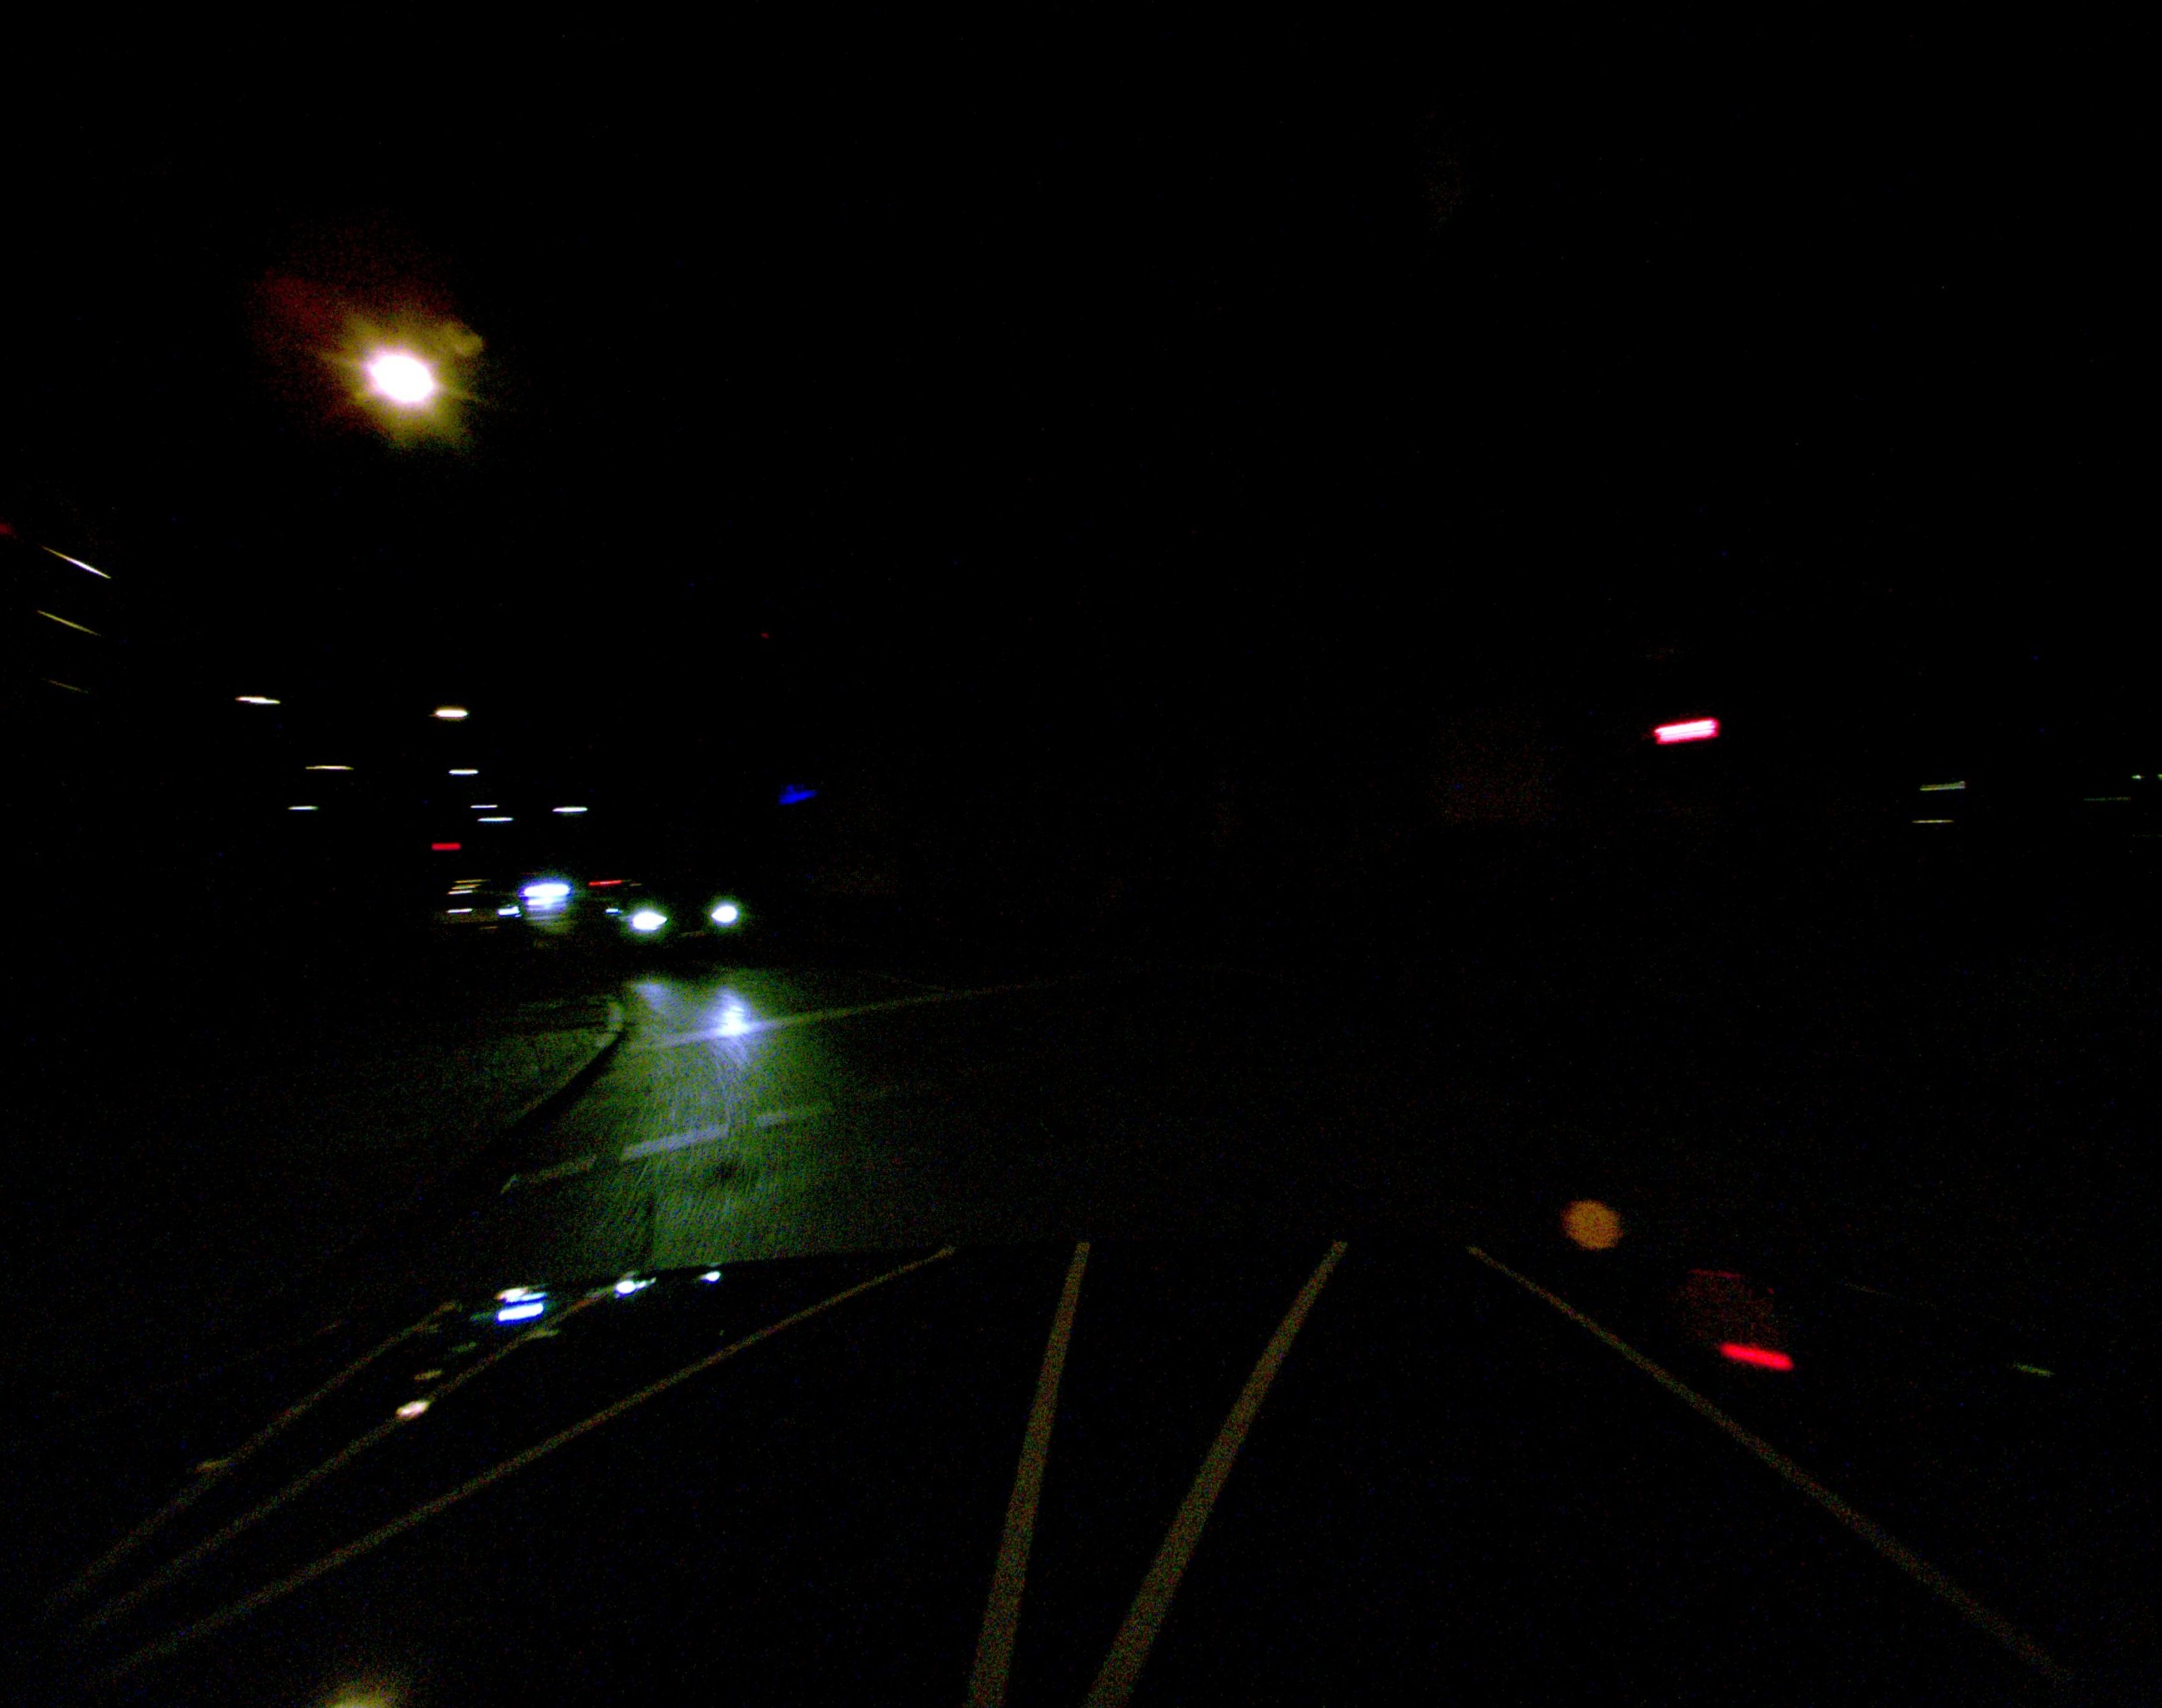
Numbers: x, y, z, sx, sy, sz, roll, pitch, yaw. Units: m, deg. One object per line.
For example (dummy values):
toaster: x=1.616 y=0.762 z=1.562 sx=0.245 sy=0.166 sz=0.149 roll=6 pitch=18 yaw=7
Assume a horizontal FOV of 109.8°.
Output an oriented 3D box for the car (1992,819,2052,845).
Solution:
car: x=64.844 y=-1.519 z=52.423 sx=1.994 sy=1.625 sz=4.008 roll=-2 pitch=1 yaw=42

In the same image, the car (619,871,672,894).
car: x=-40.285 y=2.641 z=70.417 sx=4.005 sy=1.878 sz=1.905 roll=-2 pitch=1 yaw=-25

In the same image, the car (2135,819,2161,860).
car: x=46.502 y=-0.655 z=32.125 sx=4.007 sy=1.625 sz=1.995 roll=-3 pitch=1 yaw=-40

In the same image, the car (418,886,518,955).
car: x=-16.628 y=1.696 z=20.559 sx=1.869 sy=1.480 sz=4.534 roll=-3 pitch=1 yaw=-41

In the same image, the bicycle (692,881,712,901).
bicycle: x=-20.871 y=2.023 z=41.828 sx=0.622 sy=1.045 sz=1.717 roll=-3 pitch=1 yaw=-38

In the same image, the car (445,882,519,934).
car: x=-20.894 y=1.801 z=26.424 sx=1.784 sy=1.535 sz=4.534 roll=-3 pitch=1 yaw=-41

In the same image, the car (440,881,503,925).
car: x=-25.071 y=1.967 z=31.198 sx=1.833 sy=1.613 sz=4.446 roll=-1 pitch=-1 yaw=-40

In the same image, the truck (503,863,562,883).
truck: x=-112.510 y=3.866 z=156.030 sx=9.368 sy=3.701 sz=1.996 roll=-2 pitch=1 yaw=-23

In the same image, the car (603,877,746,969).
car: x=-8.689 y=1.329 z=16.055 sx=2.004 sy=1.606 sz=3.990 roll=-2 pitch=-1 yaw=-37

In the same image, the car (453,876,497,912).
car: x=-33.735 y=2.175 z=42.332 sx=1.810 sy=1.863 sz=4.761 roll=0 pitch=-2 yaw=-38
